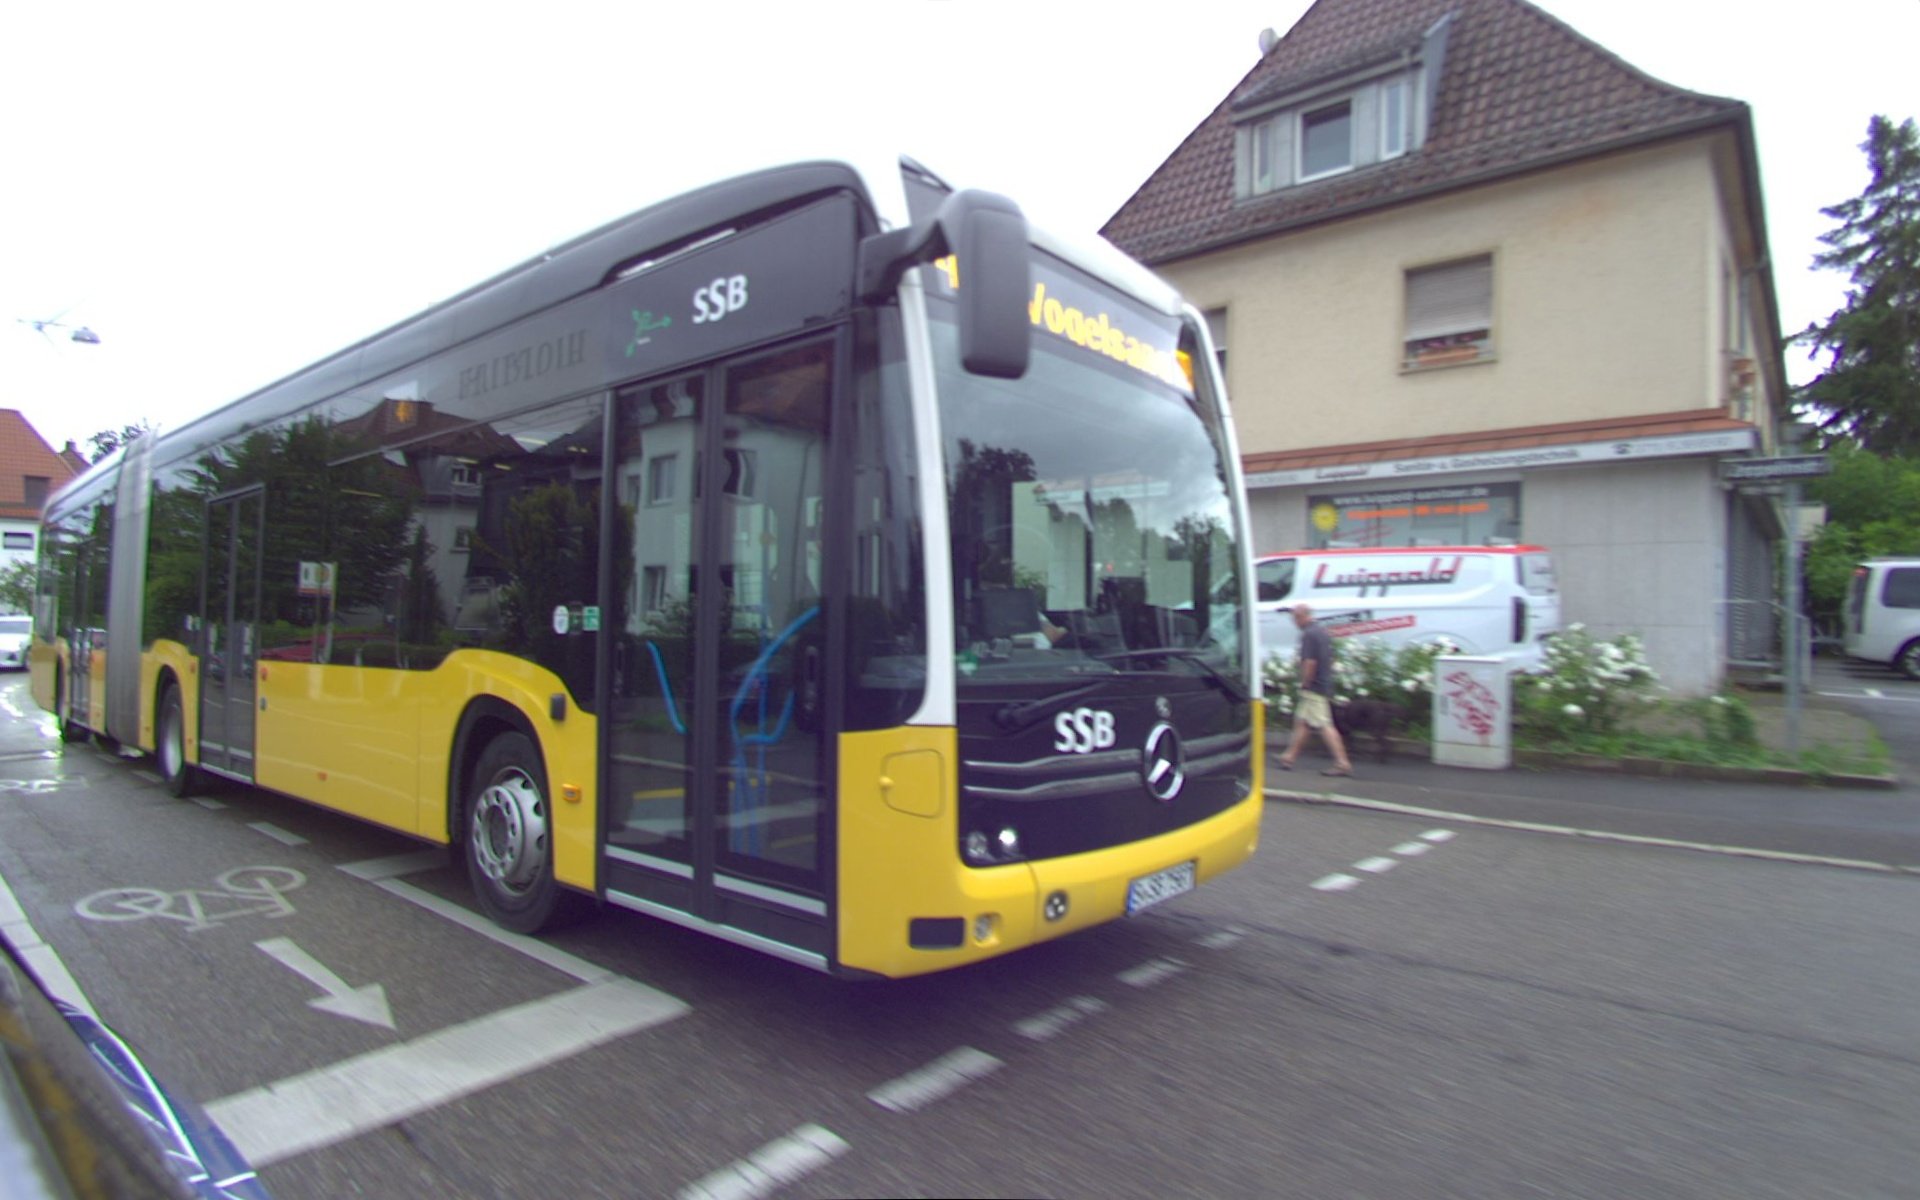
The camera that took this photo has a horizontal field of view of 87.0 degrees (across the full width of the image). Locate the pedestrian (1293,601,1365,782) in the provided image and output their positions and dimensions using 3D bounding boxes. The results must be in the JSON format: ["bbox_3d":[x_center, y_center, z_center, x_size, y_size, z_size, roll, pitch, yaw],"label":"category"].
[{"bbox_3d":[3.485,0.842,9.564,0.448,1.648,0.414,-2,0,-35],"label":"pedestrian"}]

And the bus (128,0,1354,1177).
[{"bbox_3d":[-2.512,-0.131,6.611,9.033,3.424,2.870,-2,-3,40],"label":"bus"}]

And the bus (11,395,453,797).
[{"bbox_3d":[-9.420,0.089,12.525,8.678,3.424,2.648,-2,-3,42],"label":"bus"}]

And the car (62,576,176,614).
[{"bbox_3d":[-48.499,-0.271,58.503,4.665,1.823,1.948,5,-3,-30],"label":"car"}]

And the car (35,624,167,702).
[{"bbox_3d":[-18.494,1.315,21.855,1.968,1.490,4.493,2,-3,-40],"label":"car"}]

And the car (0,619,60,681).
[{"bbox_3d":[-27.938,1.413,29.388,1.766,1.712,3.903,-1,-1,-27],"label":"car"}]

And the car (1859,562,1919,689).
[{"bbox_3d":[17.430,0.380,15.635,5.184,2.029,1.971,-1,-1,45],"label":"car"}]

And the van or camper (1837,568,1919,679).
[{"bbox_3d":[19.290,0.410,18.229,5.183,2.029,1.971,-1,-1,44],"label":"van or camper"}]
